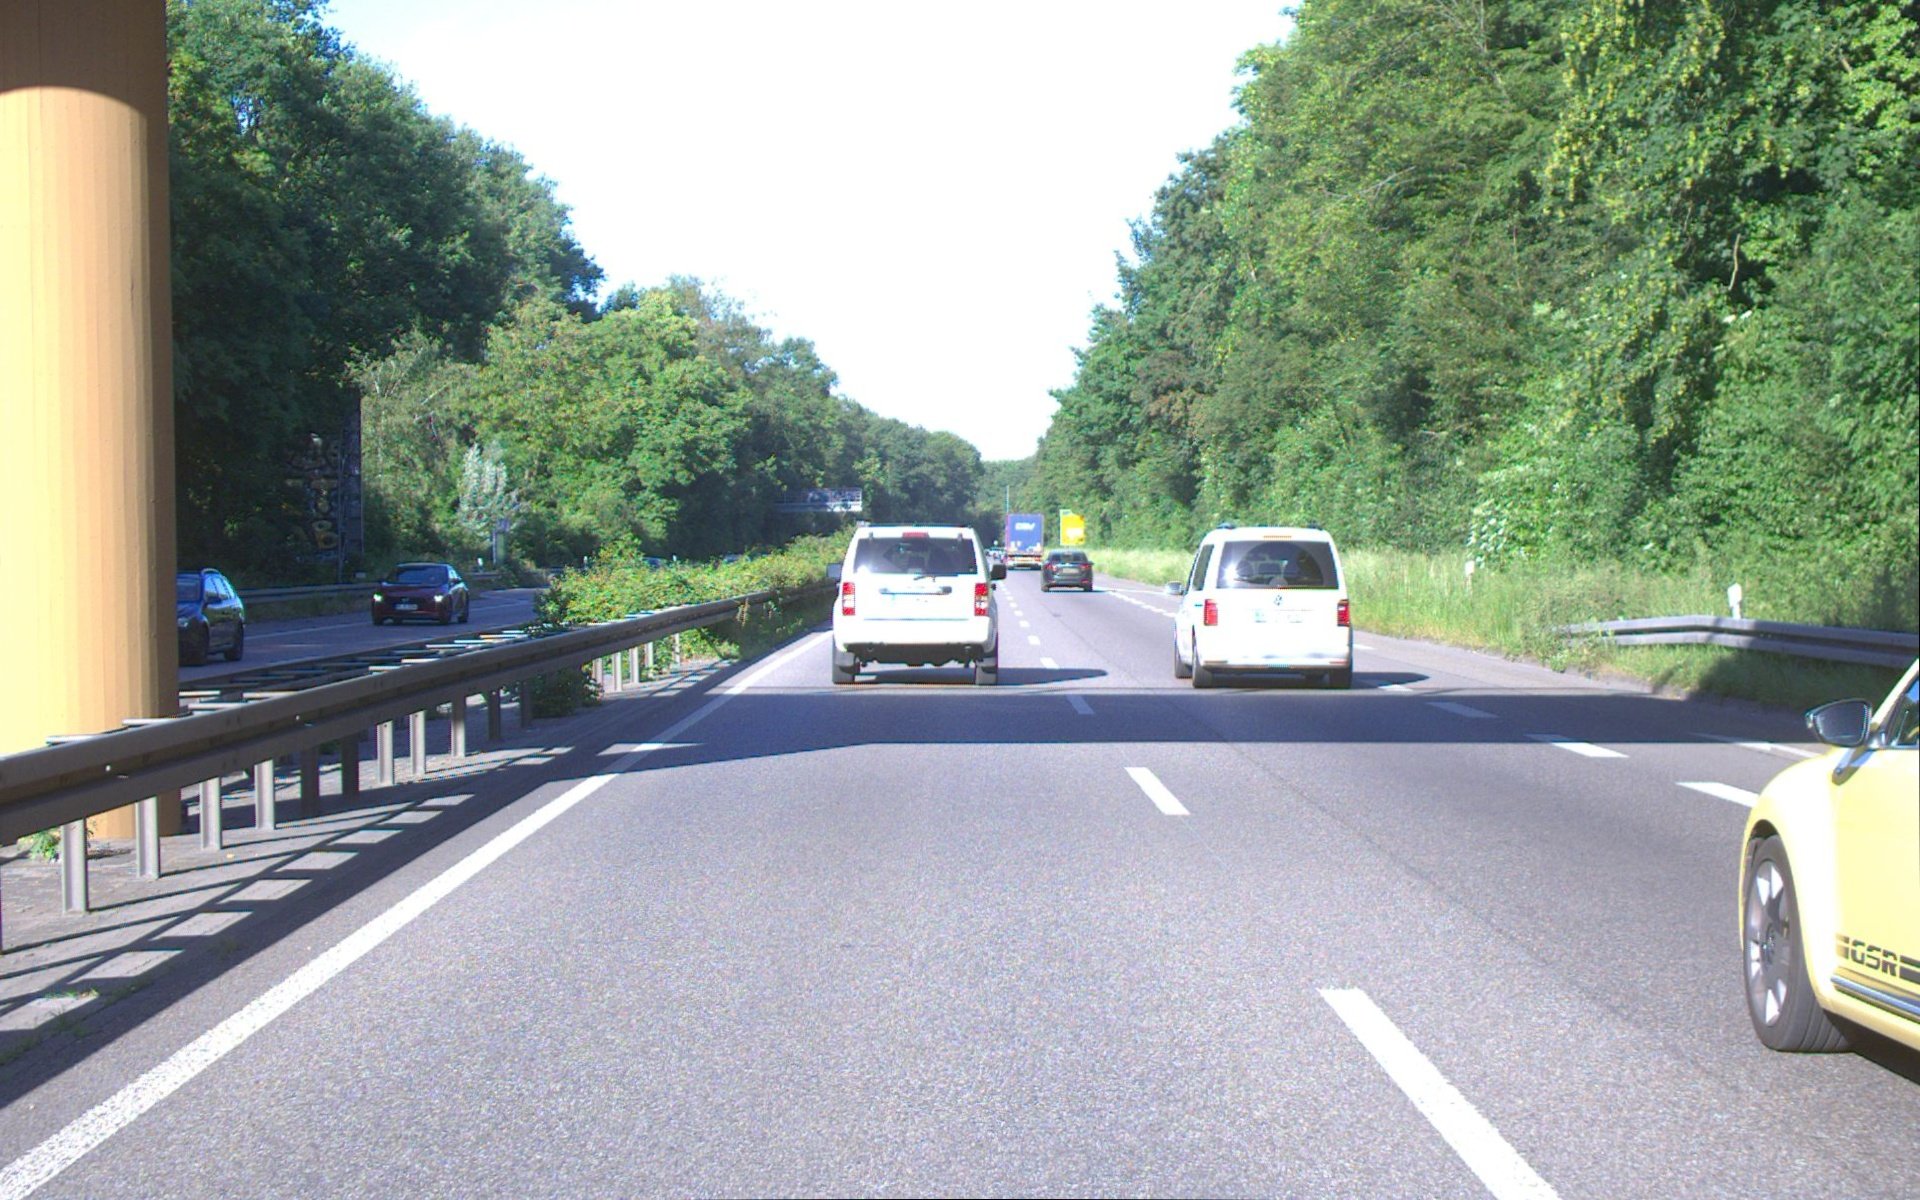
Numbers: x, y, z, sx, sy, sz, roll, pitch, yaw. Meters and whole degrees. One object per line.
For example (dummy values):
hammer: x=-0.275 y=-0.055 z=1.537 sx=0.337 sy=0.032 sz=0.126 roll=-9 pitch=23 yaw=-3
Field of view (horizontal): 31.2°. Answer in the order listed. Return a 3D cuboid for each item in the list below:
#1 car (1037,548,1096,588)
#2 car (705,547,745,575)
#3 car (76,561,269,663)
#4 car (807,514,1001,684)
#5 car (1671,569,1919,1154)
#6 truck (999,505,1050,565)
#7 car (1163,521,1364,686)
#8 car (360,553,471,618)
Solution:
car: x=3.813 y=-1.158 z=123.794 sx=1.993 sy=1.393 sz=4.000 roll=-1 pitch=1 yaw=0
car: x=-12.521 y=-2.075 z=183.724 sx=1.960 sy=1.445 sz=4.507 roll=1 pitch=1 yaw=-2
car: x=-12.327 y=0.156 z=54.118 sx=1.960 sy=1.445 sz=4.706 roll=2 pitch=1 yaw=-1
car: x=-0.657 y=-0.039 z=39.090 sx=2.085 sy=1.822 sz=4.000 roll=0 pitch=1 yaw=-2
car: x=3.356 y=0.673 z=9.115 sx=1.879 sy=1.456 sz=4.356 roll=0 pitch=1 yaw=-2
truck: x=4.582 y=-4.627 z=245.211 sx=3.496 sy=4.158 sz=8.862 roll=0 pitch=1 yaw=0
car: x=3.409 y=0.000 z=39.297 sx=1.863 sy=1.764 sz=4.470 roll=-1 pitch=1 yaw=0
car: x=-12.889 y=-0.368 z=81.660 sx=1.960 sy=1.445 sz=4.584 roll=1 pitch=1 yaw=-1
